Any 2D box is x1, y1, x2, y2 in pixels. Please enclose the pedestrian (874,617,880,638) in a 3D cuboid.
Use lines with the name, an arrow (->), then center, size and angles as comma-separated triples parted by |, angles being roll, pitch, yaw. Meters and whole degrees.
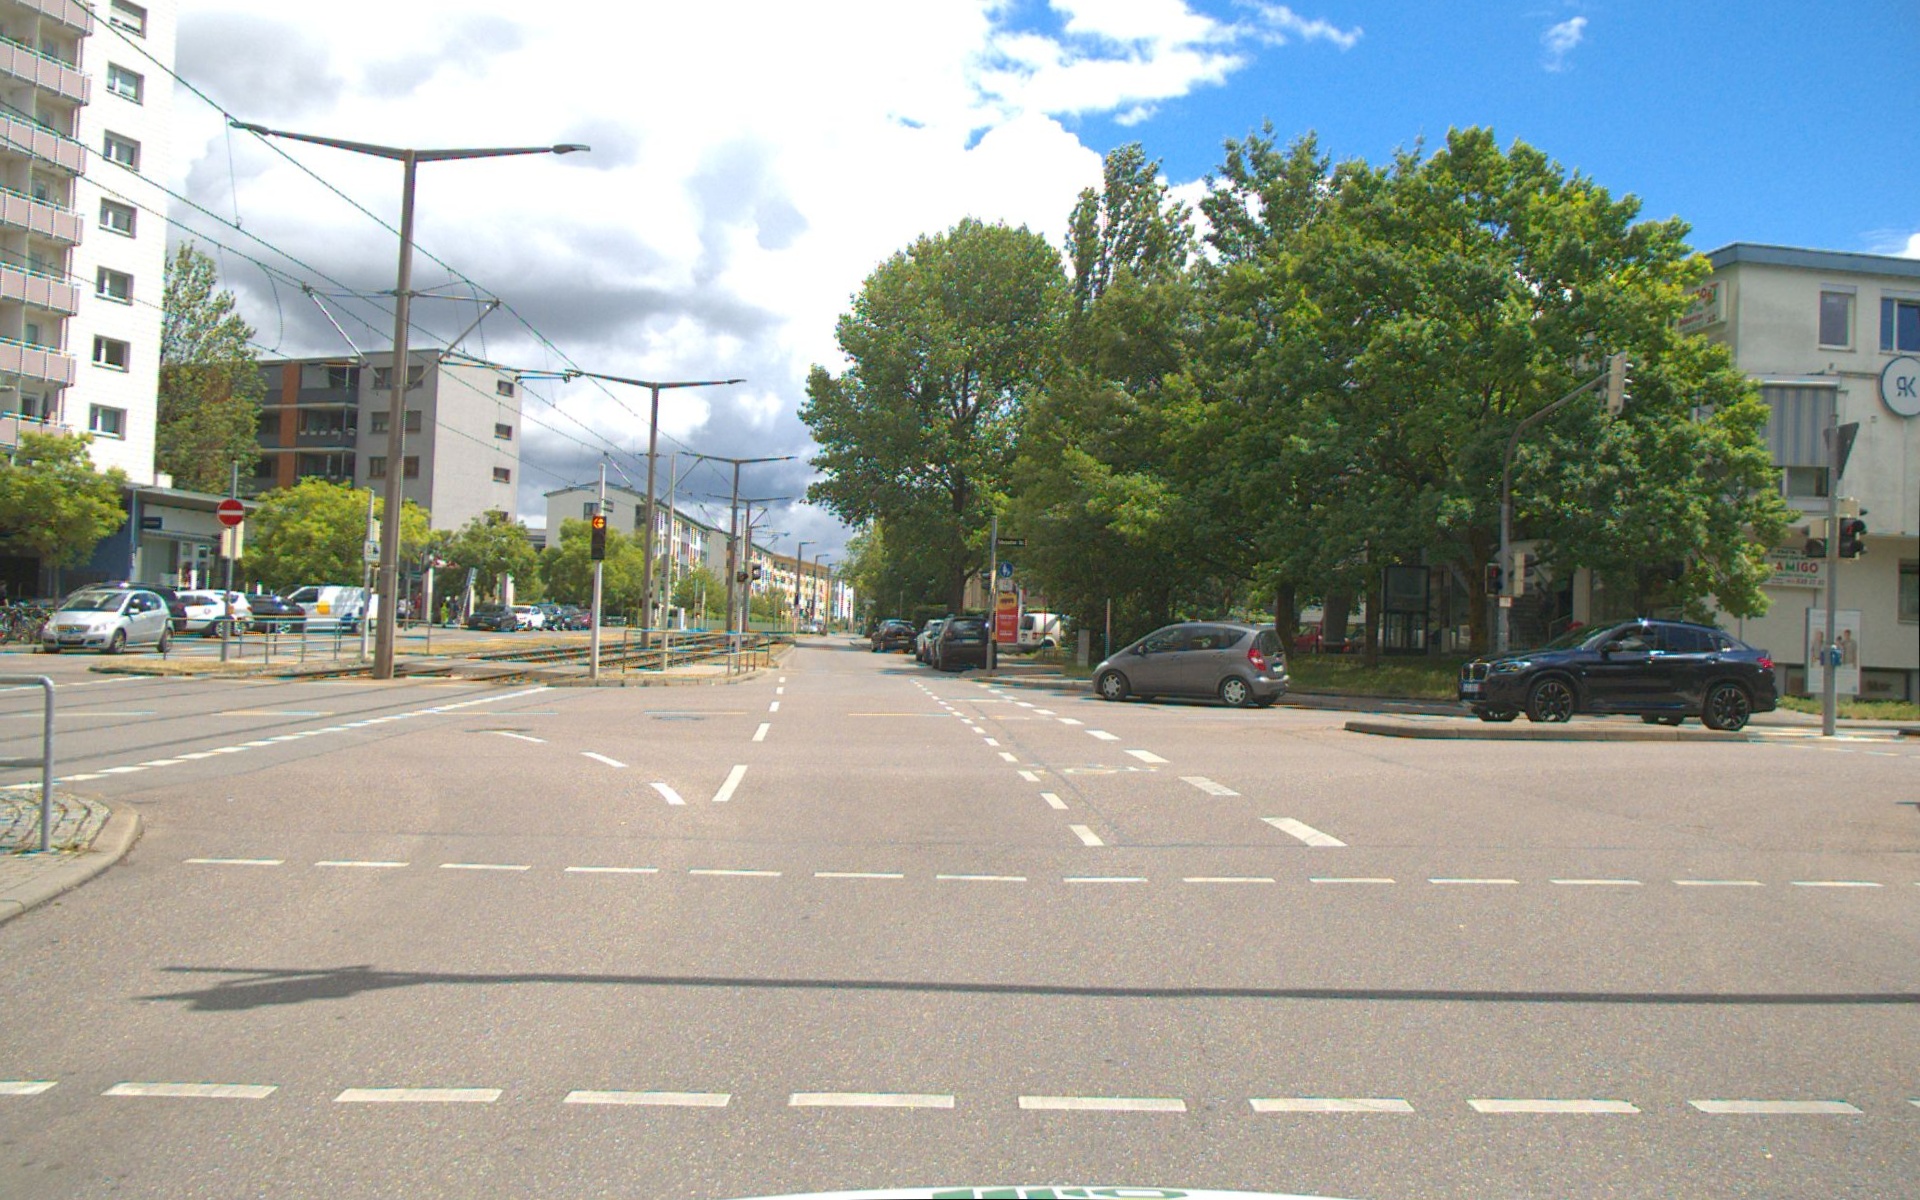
pedestrian -> -6.879, 2.275, 136.929 | 0.469, 1.665, 0.454 | 1, 0, -2

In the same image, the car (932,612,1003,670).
car -> 0.198, 1.265, 51.786 | 2.108, 1.713, 3.999 | 1, -1, -1

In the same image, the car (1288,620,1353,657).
car -> 16.792, 1.776, 77.250 | 1.698, 1.623, 3.993 | 1, 0, -8

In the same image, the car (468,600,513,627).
car -> -25.719, 0.714, 90.687 | 1.728, 1.419, 3.993 | 1, 0, -7

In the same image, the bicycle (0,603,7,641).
bicycle -> -24.886, 0.526, 41.200 | 1.910, 0.951, 0.494 | 1, -1, -7

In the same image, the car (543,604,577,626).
car -> -26.395, 0.984, 109.223 | 1.728, 1.419, 3.993 | 1, 0, -7

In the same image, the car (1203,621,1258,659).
car -> 12.307, 1.794, 75.504 | 1.598, 1.600, 4.029 | 1, 0, -4

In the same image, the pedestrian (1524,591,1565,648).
pedestrian -> 17.597, 0.574, 49.799 | 0.755, 1.672, 0.904 | 2, 0, -14

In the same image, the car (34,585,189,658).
car -> -21.265, 0.521, 41.620 | 1.898, 1.723, 3.872 | 1, 0, -1

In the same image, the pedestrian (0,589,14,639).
pedestrian -> -31.663, 0.462, 54.397 | 0.754, 1.643, 0.696 | 1, 0, -14

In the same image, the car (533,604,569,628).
car -> -25.835, 1.013, 104.668 | 1.728, 1.419, 3.993 | 1, 0, -7

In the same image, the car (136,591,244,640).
car -> -26.783, 0.530, 57.498 | 4.143, 1.597, 1.949 | 1, 0, 43

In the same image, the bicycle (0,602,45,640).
bicycle -> -24.801, 0.538, 42.785 | 1.910, 0.951, 0.494 | 1, -1, -7

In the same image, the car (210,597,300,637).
car -> -27.331, 0.632, 64.024 | 4.147, 1.445, 1.777 | 1, 0, 45

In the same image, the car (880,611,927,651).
car -> -2.512, 1.368, 74.361 | 1.953, 1.713, 3.999 | 1, 0, -1

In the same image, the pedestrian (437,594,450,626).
pedestrian -> -28.698, 0.546, 91.899 | 0.537, 1.746, 0.667 | 1, 0, -11

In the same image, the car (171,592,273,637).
car -> -27.125, 0.532, 60.763 | 4.143, 1.564, 1.949 | 1, 0, 43

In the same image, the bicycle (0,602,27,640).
bicycle -> -24.945, 0.532, 42.221 | 1.910, 0.951, 0.494 | 1, -1, -7

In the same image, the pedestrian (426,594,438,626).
pedestrian -> -28.717, 0.539, 90.023 | 0.537, 1.746, 0.404 | 1, 0, -11

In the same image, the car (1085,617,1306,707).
car -> 4.604, 1.169, 32.364 | 3.834, 1.583, 1.996 | 1, 0, 30

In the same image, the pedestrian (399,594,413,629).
pedestrian -> -27.243, 0.566, 81.316 | 0.536, 1.746, 0.405 | 1, 0, -1

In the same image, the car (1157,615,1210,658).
car -> 10.095, 1.622, 74.945 | 1.598, 1.842, 4.029 | 1, 0, -4

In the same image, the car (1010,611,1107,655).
car -> 4.384, 1.476, 73.370 | 3.933, 1.855, 1.766 | 1, 0, -24

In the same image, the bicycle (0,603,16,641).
bicycle -> -24.932, 0.528, 41.675 | 1.910, 0.951, 0.494 | 1, -1, -7

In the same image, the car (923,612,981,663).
car -> -0.306, 1.334, 59.224 | 1.953, 1.713, 3.999 | 1, -1, -1

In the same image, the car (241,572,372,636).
car -> -27.333, 0.137, 69.023 | 2.811, 2.522, 6.614 | 1, 0, -44

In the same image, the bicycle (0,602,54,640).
bicycle -> -24.841, 0.540, 43.285 | 1.910, 0.951, 0.494 | 1, -1, -7

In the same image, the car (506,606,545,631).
car -> -25.728, 1.064, 97.999 | 1.728, 1.419, 3.993 | 1, 0, -7

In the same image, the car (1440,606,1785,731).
car -> 9.808, 1.008, 25.040 | 4.474, 1.747, 1.996 | 1, 0, -9
